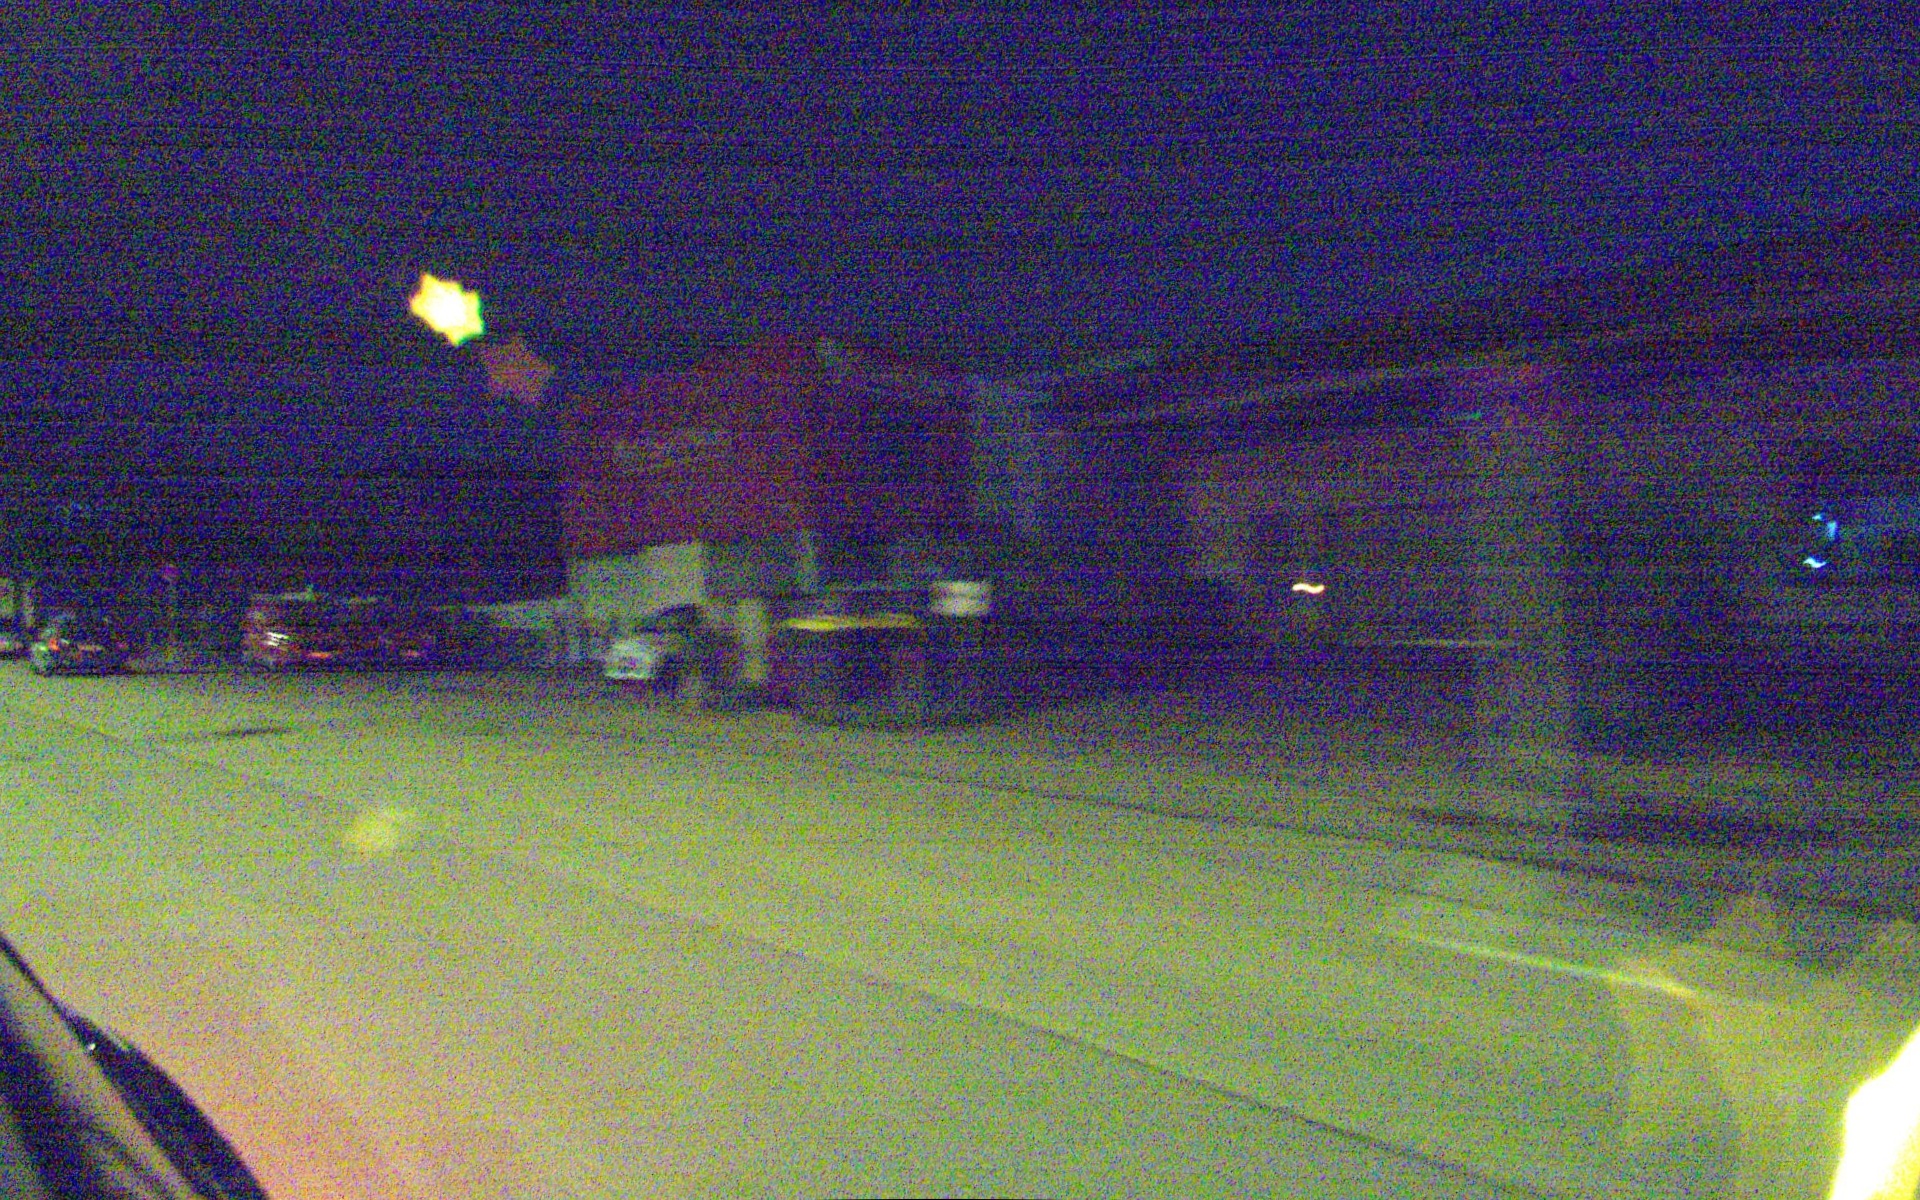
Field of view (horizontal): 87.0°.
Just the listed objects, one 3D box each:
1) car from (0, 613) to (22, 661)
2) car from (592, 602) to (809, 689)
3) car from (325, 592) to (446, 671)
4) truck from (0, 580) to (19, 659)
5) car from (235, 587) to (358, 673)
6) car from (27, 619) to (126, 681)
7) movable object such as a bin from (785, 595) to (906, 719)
[{"bbox_3d":[-38.525,1.439,39.729,4.833,1.830,1.811,-1,-2,39],"label":"car"},{"bbox_3d":[-5.155,0.883,20.505,1.816,1.583,3.946,-2,-2,40],"label":"car"},{"bbox_3d":[-18.420,0.988,32.363,4.625,2.339,2.182,-2,-2,44],"label":"car"},{"bbox_3d":[-43.562,0.876,44.279,7.304,3.305,2.518,-1,-1,39],"label":"truck"},{"bbox_3d":[-19.722,0.907,29.985,4.968,2.339,1.971,-2,-3,44],"label":"car"},{"bbox_3d":[-24.277,1.320,27.763,4.324,1.538,1.735,-2,-1,44],"label":"car"},{"bbox_3d":[-1.475,0.705,13.119,1.064,1.507,1.153,-2,-2,37],"label":"movable object such as a bin"}]
